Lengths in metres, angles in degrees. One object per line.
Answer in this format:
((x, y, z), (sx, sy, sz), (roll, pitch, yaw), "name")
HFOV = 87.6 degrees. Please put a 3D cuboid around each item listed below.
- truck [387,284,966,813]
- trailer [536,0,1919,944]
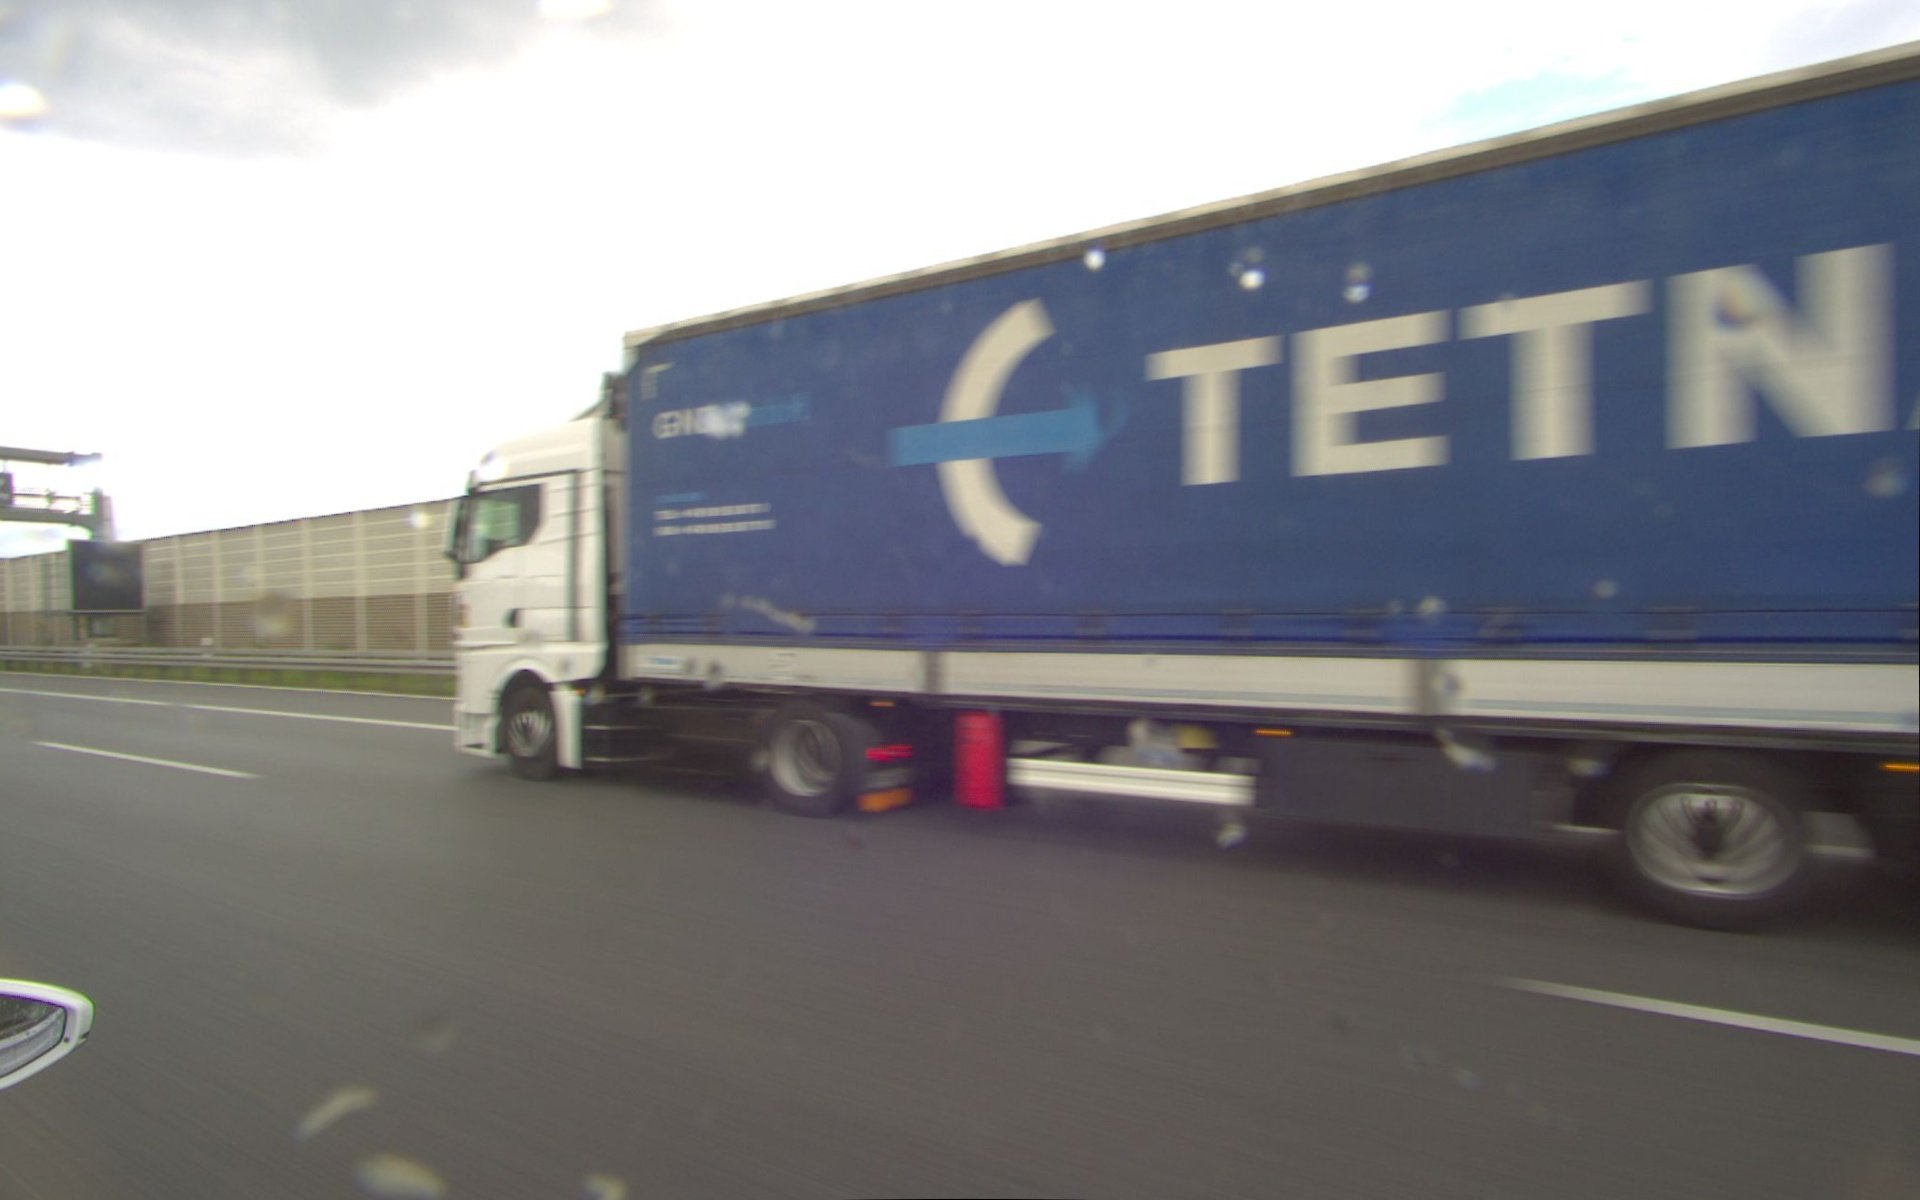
((-3.042, -0.337, 10.413), (5.643, 4.087, 2.740), (-1, -1, 32), "truck")
((2.799, -0.505, 6.764), (14.244, 4.084, 2.756), (-1, -1, 32), "trailer")
